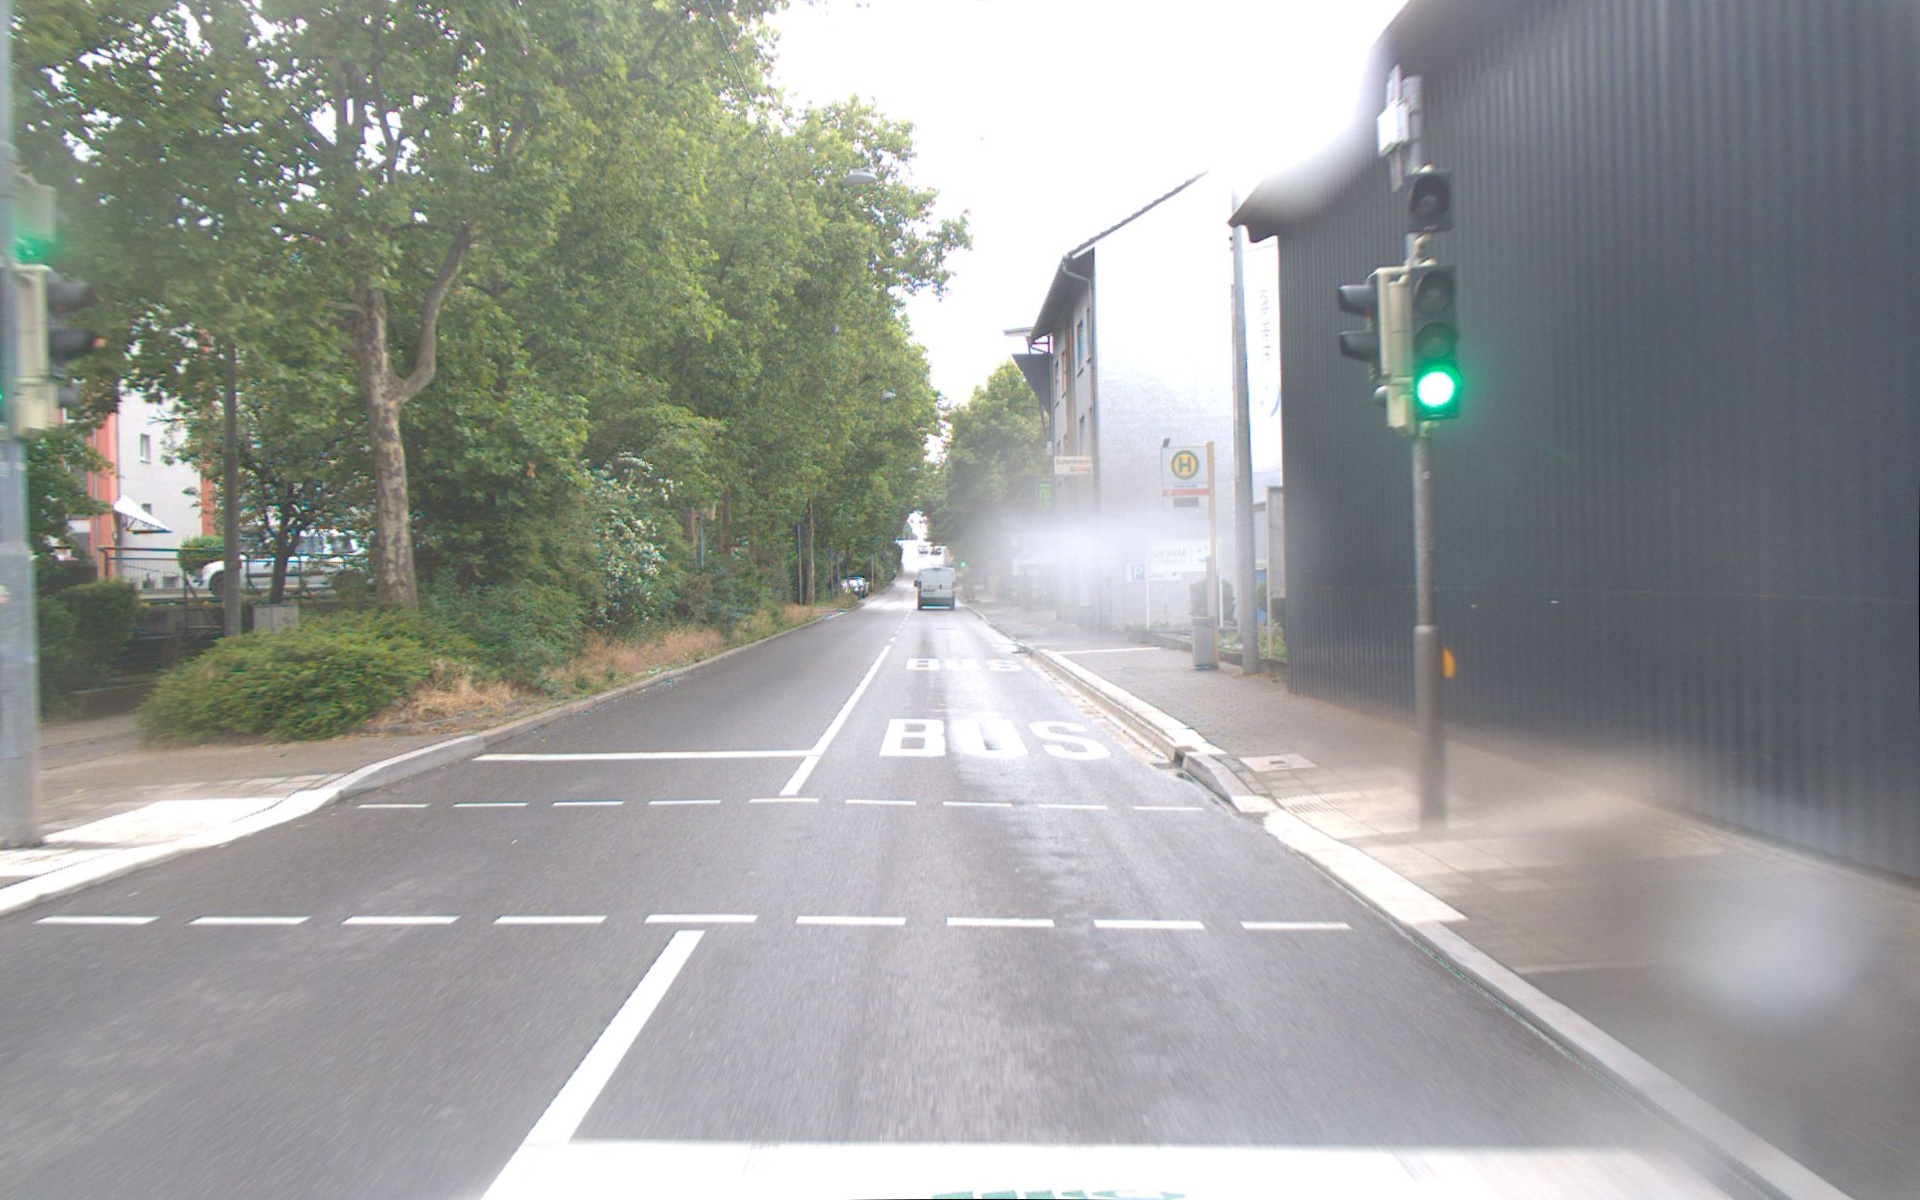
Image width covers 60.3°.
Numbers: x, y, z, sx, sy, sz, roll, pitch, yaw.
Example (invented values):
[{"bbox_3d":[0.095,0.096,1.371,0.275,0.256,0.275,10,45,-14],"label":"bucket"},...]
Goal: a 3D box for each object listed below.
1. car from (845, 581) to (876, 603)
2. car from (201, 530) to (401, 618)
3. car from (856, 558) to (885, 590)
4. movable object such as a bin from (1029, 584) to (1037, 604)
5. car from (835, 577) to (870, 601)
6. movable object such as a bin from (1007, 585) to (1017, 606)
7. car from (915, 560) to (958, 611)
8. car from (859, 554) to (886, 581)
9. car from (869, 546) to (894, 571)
[{"bbox_3d":[-8.354,-0.681,139.113,2.170,1.721,4.609,0,-1,1],"label":"car"},{"bbox_3d":[-15.719,-0.618,39.580,4.085,2.049,1.718,0,0,-4],"label":"car"},{"bbox_3d":[-7.842,-2.239,144.712,2.170,2.578,4.609,0,-1,1],"label":"car"},{"bbox_3d":[4.010,-0.317,91.072,0.392,1.085,0.358,-1,-1,-7],"label":"movable object such as a bin"},{"bbox_3d":[-7.777,-0.799,120.091,2.170,1.620,4.609,0,-1,1],"label":"car"},{"bbox_3d":[2.860,-0.255,90.898,0.392,1.085,0.358,-4,-1,-7],"label":"movable object such as a bin"},{"bbox_3d":[-1.285,-0.753,89.714,2.236,2.597,3.999,-1,-1,-1],"label":"car"},{"bbox_3d":[-8.216,-3.045,156.218,2.170,2.334,4.609,0,-1,1],"label":"car"},{"bbox_3d":[-7.861,-4.191,165.953,2.170,2.334,4.610,0,0,1],"label":"car"}]
